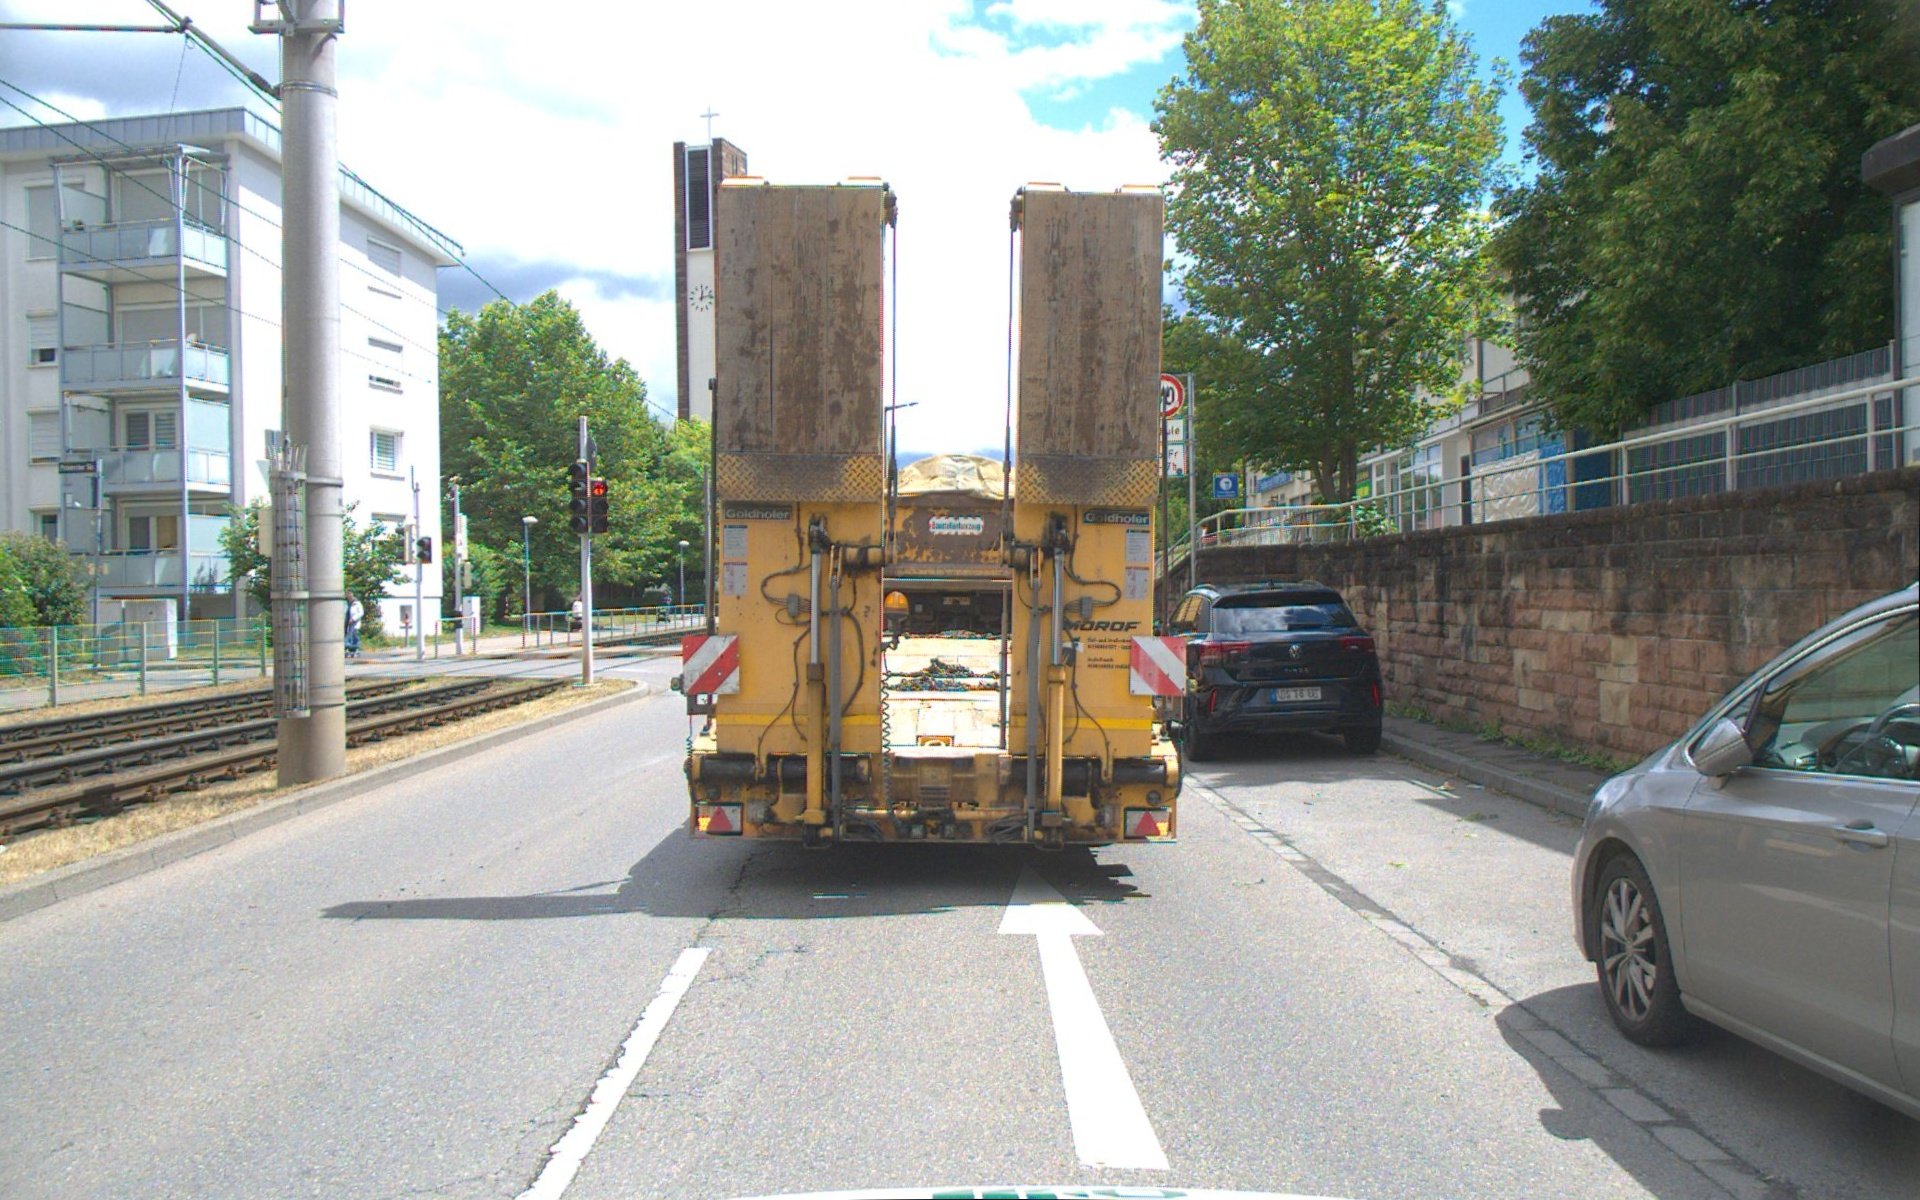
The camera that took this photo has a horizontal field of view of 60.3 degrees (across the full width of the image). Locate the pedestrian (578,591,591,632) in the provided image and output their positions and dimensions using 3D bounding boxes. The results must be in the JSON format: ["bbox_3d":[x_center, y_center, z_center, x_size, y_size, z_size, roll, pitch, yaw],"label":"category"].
[{"bbox_3d":[-14.441,0.425,63.600,0.341,1.564,0.557,-1,0,3],"label":"pedestrian"}]

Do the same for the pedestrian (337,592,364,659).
[{"bbox_3d":[-14.729,0.613,39.951,0.428,1.608,0.475,-1,0,4],"label":"pedestrian"}]

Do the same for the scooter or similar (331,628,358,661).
[{"bbox_3d":[-14.700,1.058,39.510,0.428,0.760,0.475,-1,0,4],"label":"scooter or similar"}]

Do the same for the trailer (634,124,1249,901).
[{"bbox_3d":[-0.068,-0.461,12.246,2.885,3.664,8.684,-1,0,0],"label":"trailer"}]

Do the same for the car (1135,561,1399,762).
[{"bbox_3d":[2.846,0.534,16.196,1.813,1.668,4.000,-2,0,0],"label":"car"}]

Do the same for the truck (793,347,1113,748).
[{"bbox_3d":[-0.065,-0.502,17.626,2.882,3.635,4.877,-1,0,0],"label":"truck"}]

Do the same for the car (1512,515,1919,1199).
[{"bbox_3d":[3.074,0.603,4.247,1.754,1.646,4.247,-2,0,-2],"label":"car"}]

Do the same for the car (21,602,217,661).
[{"bbox_3d":[-20.610,0.755,40.610,3.902,1.369,1.902,-1,0,7],"label":"car"}]

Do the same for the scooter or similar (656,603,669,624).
[{"bbox_3d":[-14.301,0.642,79.392,0.495,0.988,0.645,1,0,-2],"label":"scooter or similar"}]

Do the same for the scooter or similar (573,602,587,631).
[{"bbox_3d":[-14.463,0.636,62.963,0.331,1.076,0.688,0,0,3],"label":"scooter or similar"}]

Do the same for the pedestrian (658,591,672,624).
[{"bbox_3d":[-14.289,0.364,80.045,0.552,1.540,0.645,1,0,-2],"label":"pedestrian"}]
